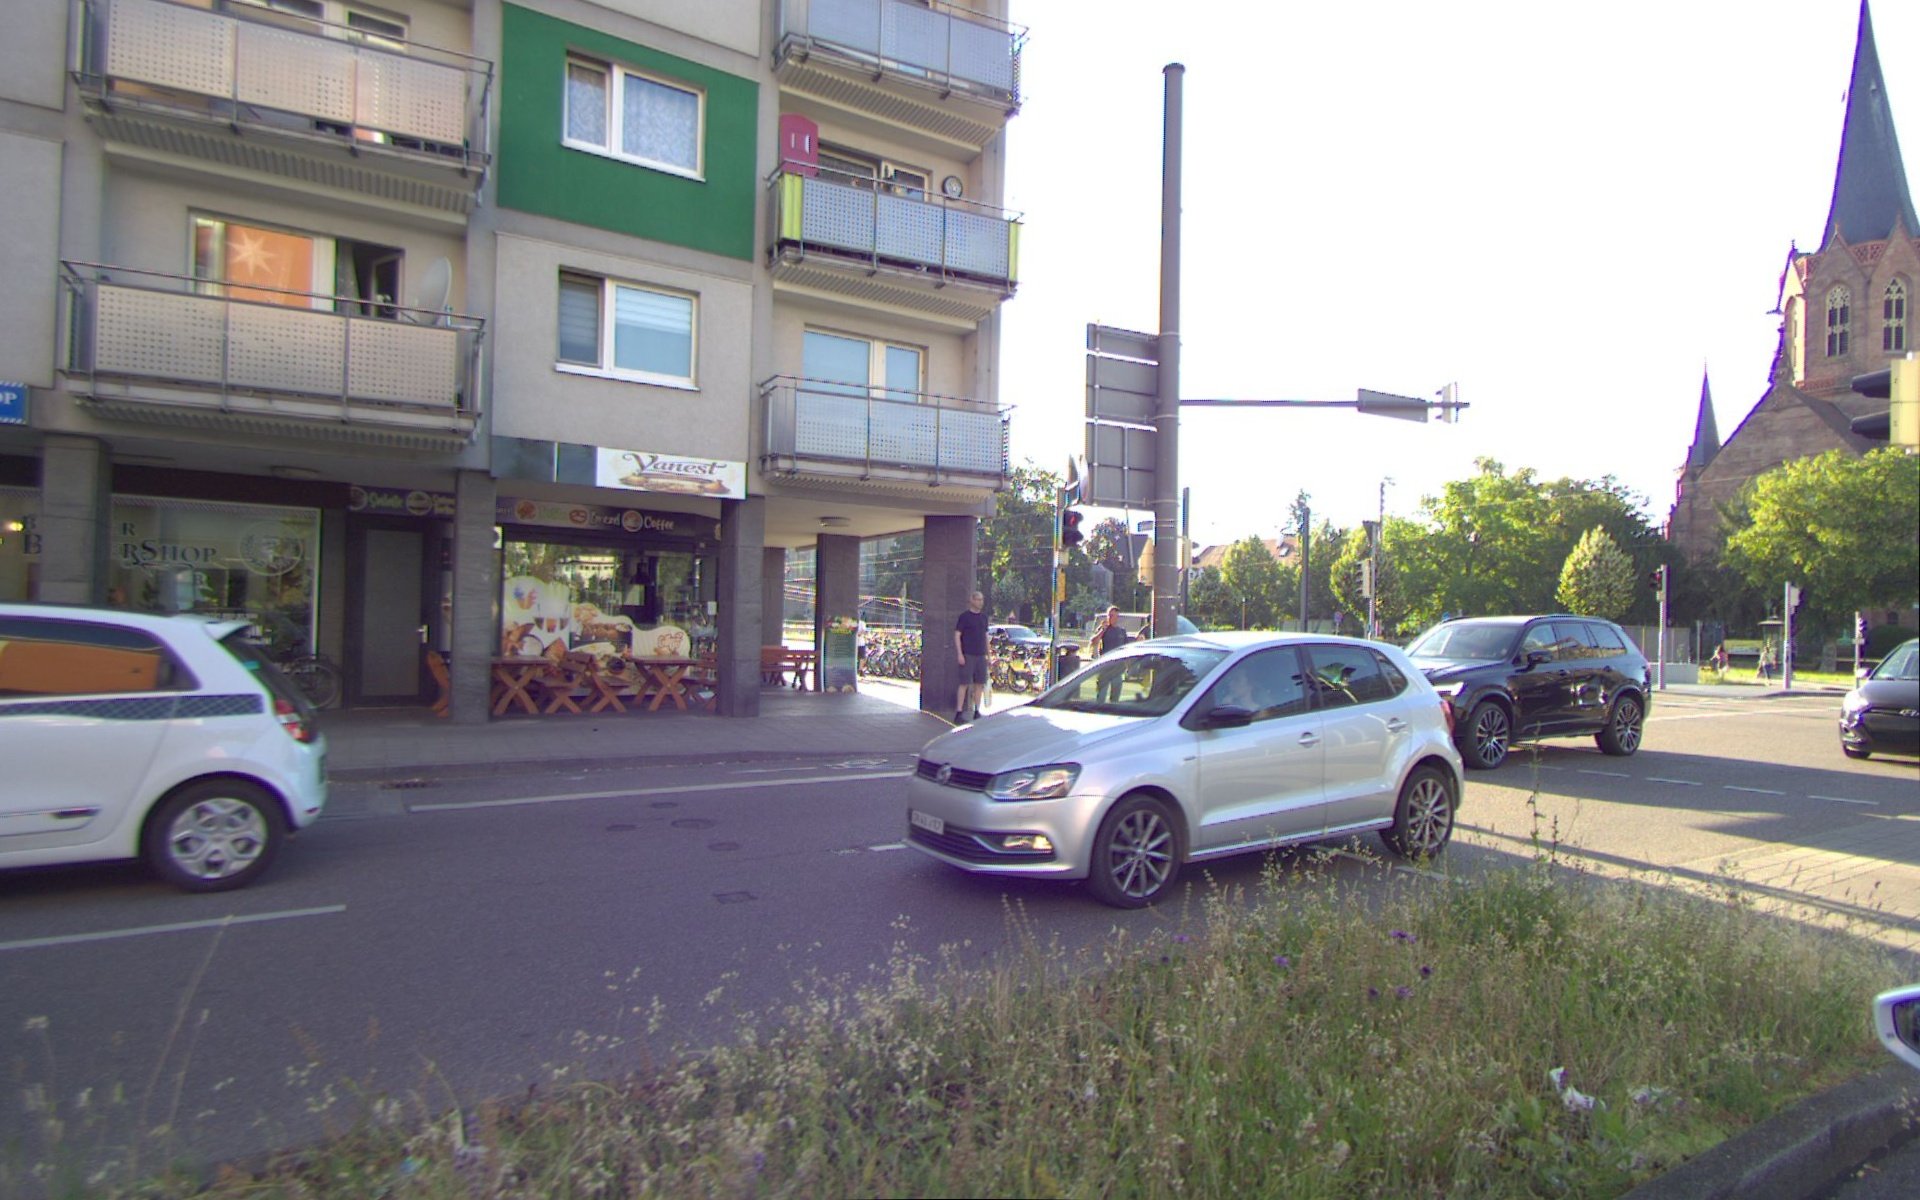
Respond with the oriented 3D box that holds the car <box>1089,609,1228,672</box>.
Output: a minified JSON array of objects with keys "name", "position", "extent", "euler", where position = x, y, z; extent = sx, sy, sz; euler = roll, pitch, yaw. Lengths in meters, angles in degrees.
[{"name":"car","position":[6.841,1.368,35.116],"extent":[1.978,2.040,4.897],"euler":[2,-2,-31]}]

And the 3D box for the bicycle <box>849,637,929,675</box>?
[{"name":"bicycle","position":[-2.056,1.641,29.291],"extent":[2.273,1.065,0.558],"euler":[3,-2,-31]}]

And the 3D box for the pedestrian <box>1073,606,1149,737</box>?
[{"name":"pedestrian","position":[2.175,1.020,14.476],"extent":[0.802,1.811,0.606],"euler":[2,2,-27]}]

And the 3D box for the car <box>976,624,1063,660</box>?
[{"name":"car","position":[2.448,1.754,42.234],"extent":[1.781,1.392,3.880],"euler":[2,-2,-31]}]

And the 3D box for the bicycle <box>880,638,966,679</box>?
[{"name":"bicycle","position":[-1.011,1.610,27.508],"extent":[2.273,1.065,0.731],"euler":[3,-2,-31]}]

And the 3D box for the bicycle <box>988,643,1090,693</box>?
[{"name":"bicycle","position":[1.801,1.525,22.582],"extent":[2.273,1.065,0.731],"euler":[2,-1,-31]}]

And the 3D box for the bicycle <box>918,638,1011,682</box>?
[{"name":"bicycle","position":[0.125,1.527,25.439],"extent":[2.273,1.065,0.731],"euler":[3,-2,-31]}]

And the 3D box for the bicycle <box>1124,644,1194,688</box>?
[{"name":"bicycle","position":[5.380,1.772,27.263],"extent":[0.940,1.112,1.769],"euler":[1,-2,-29]}]

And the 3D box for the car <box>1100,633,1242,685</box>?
[{"name":"car","position":[6.191,1.721,29.929],"extent":[1.781,1.330,4.165],"euler":[2,-2,-31]}]

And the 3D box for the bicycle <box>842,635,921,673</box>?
[{"name":"bicycle","position":[-2.329,1.604,29.802],"extent":[2.273,1.065,0.642],"euler":[3,-2,-31]}]

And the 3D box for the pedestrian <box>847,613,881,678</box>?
[{"name":"pedestrian","position":[-2.595,1.220,27.069],"extent":[0.677,1.745,0.605],"euler":[2,-1,-31]}]

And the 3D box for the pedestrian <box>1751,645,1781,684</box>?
[{"name":"pedestrian","position":[37.614,3.014,46.886],"extent":[0.696,1.719,0.896],"euler":[2,0,8]}]

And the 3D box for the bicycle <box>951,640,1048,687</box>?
[{"name":"bicycle","position":[0.951,1.509,23.955],"extent":[2.273,1.065,0.731],"euler":[3,-2,-31]}]

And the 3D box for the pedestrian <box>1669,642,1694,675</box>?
[{"name":"pedestrian","position":[40.334,3.256,56.159],"extent":[0.828,1.719,1.017],"euler":[2,0,20]}]

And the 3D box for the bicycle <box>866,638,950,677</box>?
[{"name":"bicycle","position":[-1.444,1.620,28.192],"extent":[2.273,1.065,0.731],"euler":[3,-2,-31]}]

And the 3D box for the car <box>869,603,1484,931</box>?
[{"name":"car","position":[1.464,0.869,6.490],"extent":[3.761,1.565,1.668],"euler":[2,-2,-30]}]

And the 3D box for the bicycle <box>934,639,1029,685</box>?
[{"name":"bicycle","position":[0.533,1.522,24.625],"extent":[2.273,1.065,0.731],"euler":[3,-2,-31]}]

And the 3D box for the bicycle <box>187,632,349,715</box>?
[{"name":"bicycle","position":[-9.077,0.953,13.206],"extent":[1.683,1.012,0.619],"euler":[3,-2,-40]}]

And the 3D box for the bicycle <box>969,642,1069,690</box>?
[{"name":"bicycle","position":[1.382,1.527,23.269],"extent":[2.273,1.065,0.731],"euler":[3,-2,-31]}]

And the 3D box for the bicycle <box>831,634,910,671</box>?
[{"name":"bicycle","position":[-2.708,1.598,30.491],"extent":[2.273,1.065,0.731],"euler":[3,-2,-31]}]

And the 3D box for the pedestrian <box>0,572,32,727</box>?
[{"name":"pedestrian","position":[-10.816,0.537,11.049],"extent":[0.614,1.694,0.658],"euler":[1,-1,24]}]

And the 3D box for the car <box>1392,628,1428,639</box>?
[{"name":"car","position":[66.893,4.957,149.374],"extent":[1.984,1.592,4.411],"euler":[3,-2,-40]}]

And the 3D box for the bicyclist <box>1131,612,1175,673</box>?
[{"name":"bicyclist","position":[5.272,1.155,27.471],"extent":[0.951,1.619,0.733],"euler":[1,-2,-30]}]

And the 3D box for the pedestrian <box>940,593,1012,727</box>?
[{"name":"pedestrian","position":[0.231,0.863,14.780],"extent":[0.802,1.900,0.605],"euler":[2,2,-29]}]

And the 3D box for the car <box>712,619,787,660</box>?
[{"name":"car","position":[-8.483,1.547,40.244],"extent":[1.677,1.528,3.966],"euler":[2,-2,-32]}]

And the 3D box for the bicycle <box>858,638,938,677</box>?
[{"name":"bicycle","position":[-1.766,1.650,28.780],"extent":[2.273,1.065,0.558],"euler":[3,-2,-31]}]

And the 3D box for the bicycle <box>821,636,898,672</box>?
[{"name":"bicycle","position":[-3.110,1.676,31.182],"extent":[2.273,1.065,0.731],"euler":[3,-2,-31]}]

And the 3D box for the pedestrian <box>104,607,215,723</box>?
[{"name":"pedestrian","position":[-9.677,0.770,12.157],"extent":[0.613,1.331,0.811],"euler":[1,-1,16]}]

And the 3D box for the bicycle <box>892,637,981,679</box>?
[{"name":"bicycle","position":[-0.614,1.542,26.814],"extent":[2.273,1.065,0.731],"euler":[3,-2,-31]}]

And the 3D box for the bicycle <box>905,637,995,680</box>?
[{"name":"bicycle","position":[-0.256,1.533,26.132],"extent":[2.273,1.065,0.731],"euler":[3,-2,-31]}]

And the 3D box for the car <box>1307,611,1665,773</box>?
[{"name":"car","position":[6.772,1.076,12.804],"extent":[4.729,1.733,1.807],"euler":[2,-2,-30]}]

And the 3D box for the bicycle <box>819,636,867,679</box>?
[{"name":"bicycle","position":[-3.139,1.511,26.818],"extent":[0.514,1.106,2.050],"euler":[1,-2,-30]}]

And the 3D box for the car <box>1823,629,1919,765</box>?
[{"name":"car","position":[12.471,1.159,12.559],"extent":[3.438,1.565,1.570],"euler":[2,-3,-32]}]

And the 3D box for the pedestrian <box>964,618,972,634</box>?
[{"name":"pedestrian","position":[0.965,3.044,117.284],"extent":[0.677,1.847,0.532],"euler":[2,-1,-26]}]

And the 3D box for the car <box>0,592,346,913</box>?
[{"name":"car","position":[-5.462,0.760,5.419],"extent":[3.596,1.565,1.667],"euler":[2,-2,-31]}]

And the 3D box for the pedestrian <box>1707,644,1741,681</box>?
[{"name":"pedestrian","position":[37.672,3.068,49.557],"extent":[0.828,1.719,1.016],"euler":[2,0,-4]}]
